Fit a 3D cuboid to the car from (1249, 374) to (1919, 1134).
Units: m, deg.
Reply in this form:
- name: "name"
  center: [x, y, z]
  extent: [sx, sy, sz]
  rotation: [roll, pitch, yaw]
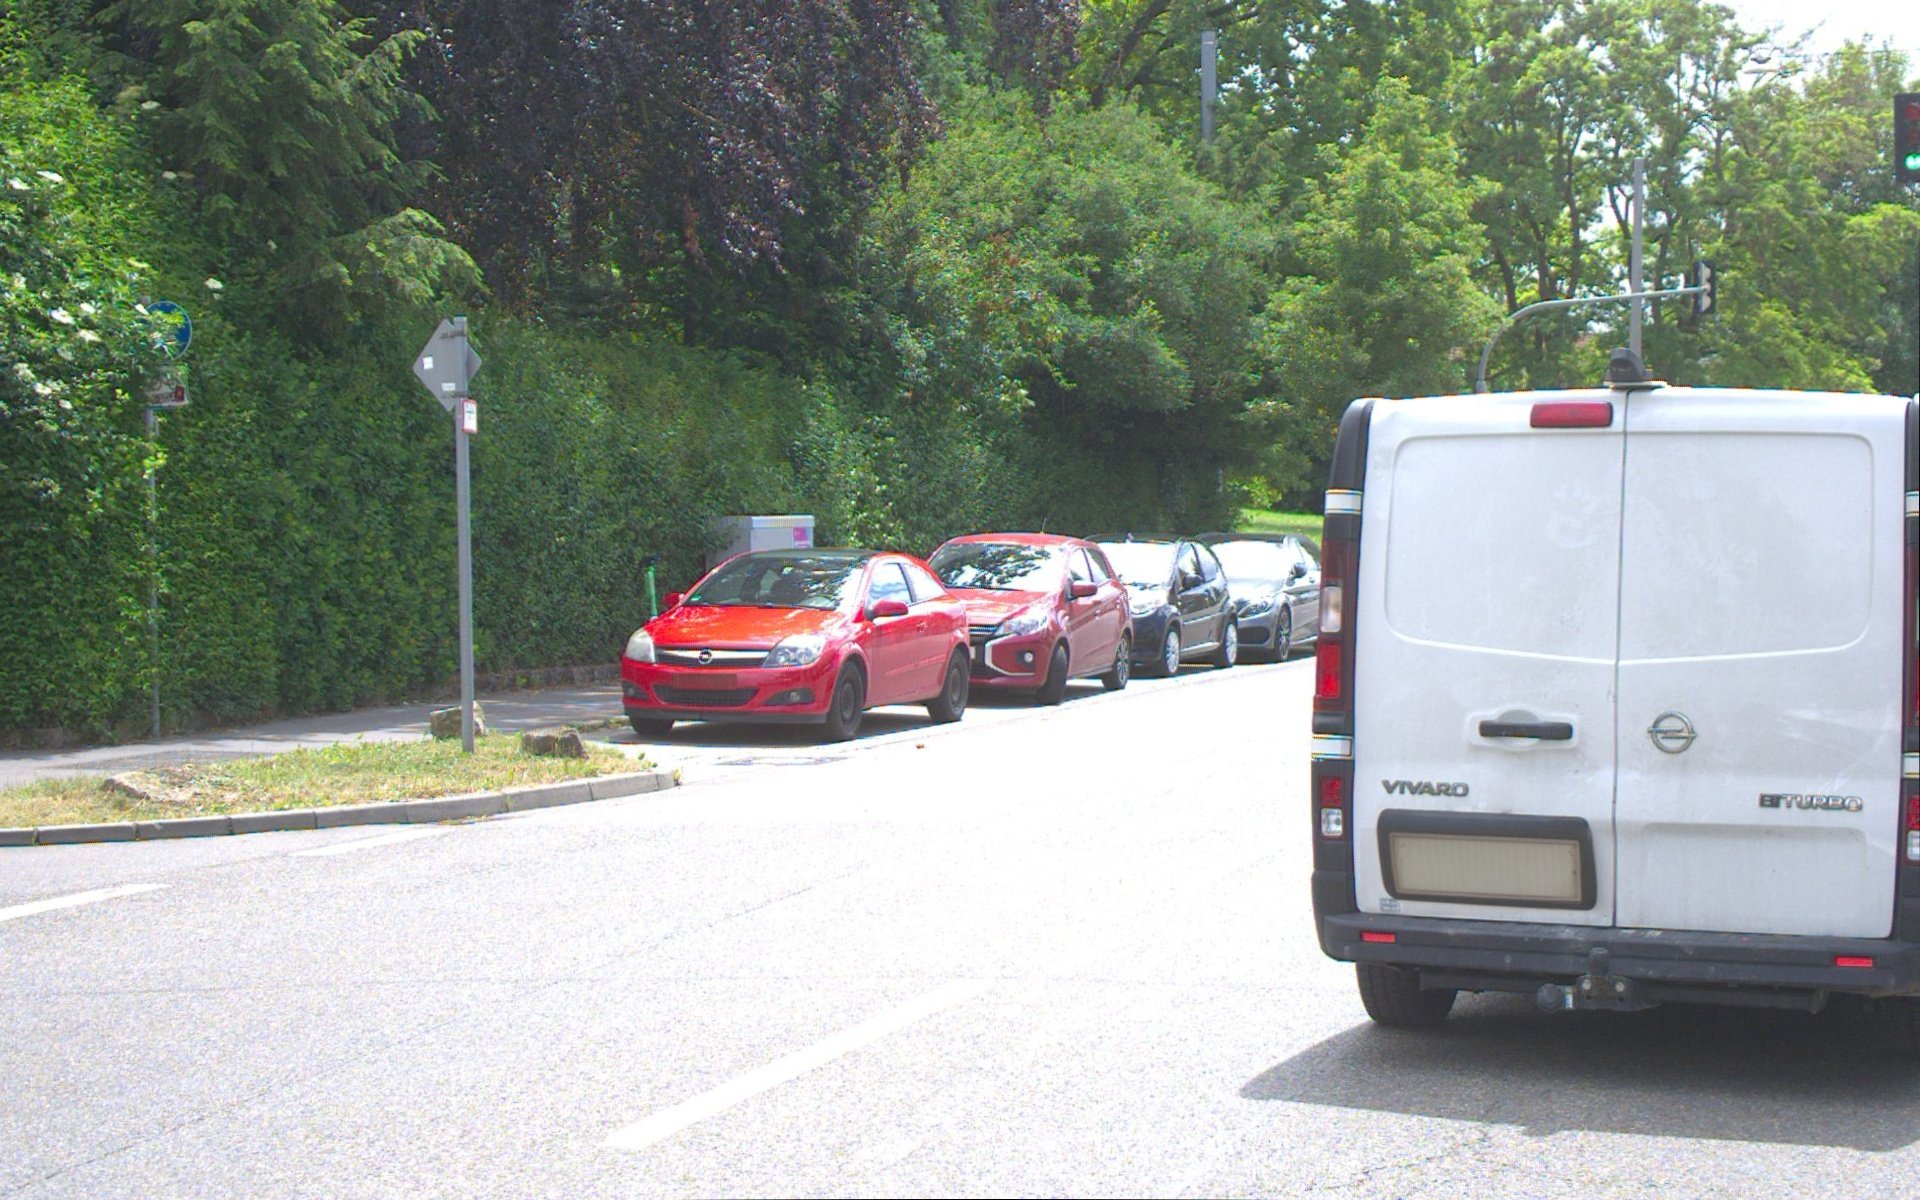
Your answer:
- name: "car"
  center: [2.687, 0.332, 11.464]
  extent: [1.941, 1.954, 4.827]
  rotation: [2, 2, 23]

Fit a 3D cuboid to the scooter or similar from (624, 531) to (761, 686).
- name: "scooter or similar"
  center: [-2.514, 0.061, 32.473]
  extent: [0.671, 1.407, 1.647]
  rotation: [1, 2, 19]

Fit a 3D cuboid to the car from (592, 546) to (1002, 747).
- name: "car"
  center: [-1.161, 0.292, 26.831]
  extent: [1.662, 1.373, 4.562]
  rotation: [1, 2, 18]

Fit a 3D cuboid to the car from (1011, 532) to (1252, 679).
- name: "car"
  center: [1.875, 0.019, 36.534]
  extent: [1.597, 1.445, 3.593]
  rotation: [1, 2, 19]

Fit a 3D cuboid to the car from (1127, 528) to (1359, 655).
- name: "car"
  center: [3.407, -0.149, 40.556]
  extent: [1.696, 1.361, 4.682]
  rotation: [2, 2, 18]

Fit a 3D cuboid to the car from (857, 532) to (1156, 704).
- name: "car"
  center: [0.505, 0.113, 31.862]
  extent: [1.651, 1.445, 4.102]
  rotation: [1, 2, 17]
